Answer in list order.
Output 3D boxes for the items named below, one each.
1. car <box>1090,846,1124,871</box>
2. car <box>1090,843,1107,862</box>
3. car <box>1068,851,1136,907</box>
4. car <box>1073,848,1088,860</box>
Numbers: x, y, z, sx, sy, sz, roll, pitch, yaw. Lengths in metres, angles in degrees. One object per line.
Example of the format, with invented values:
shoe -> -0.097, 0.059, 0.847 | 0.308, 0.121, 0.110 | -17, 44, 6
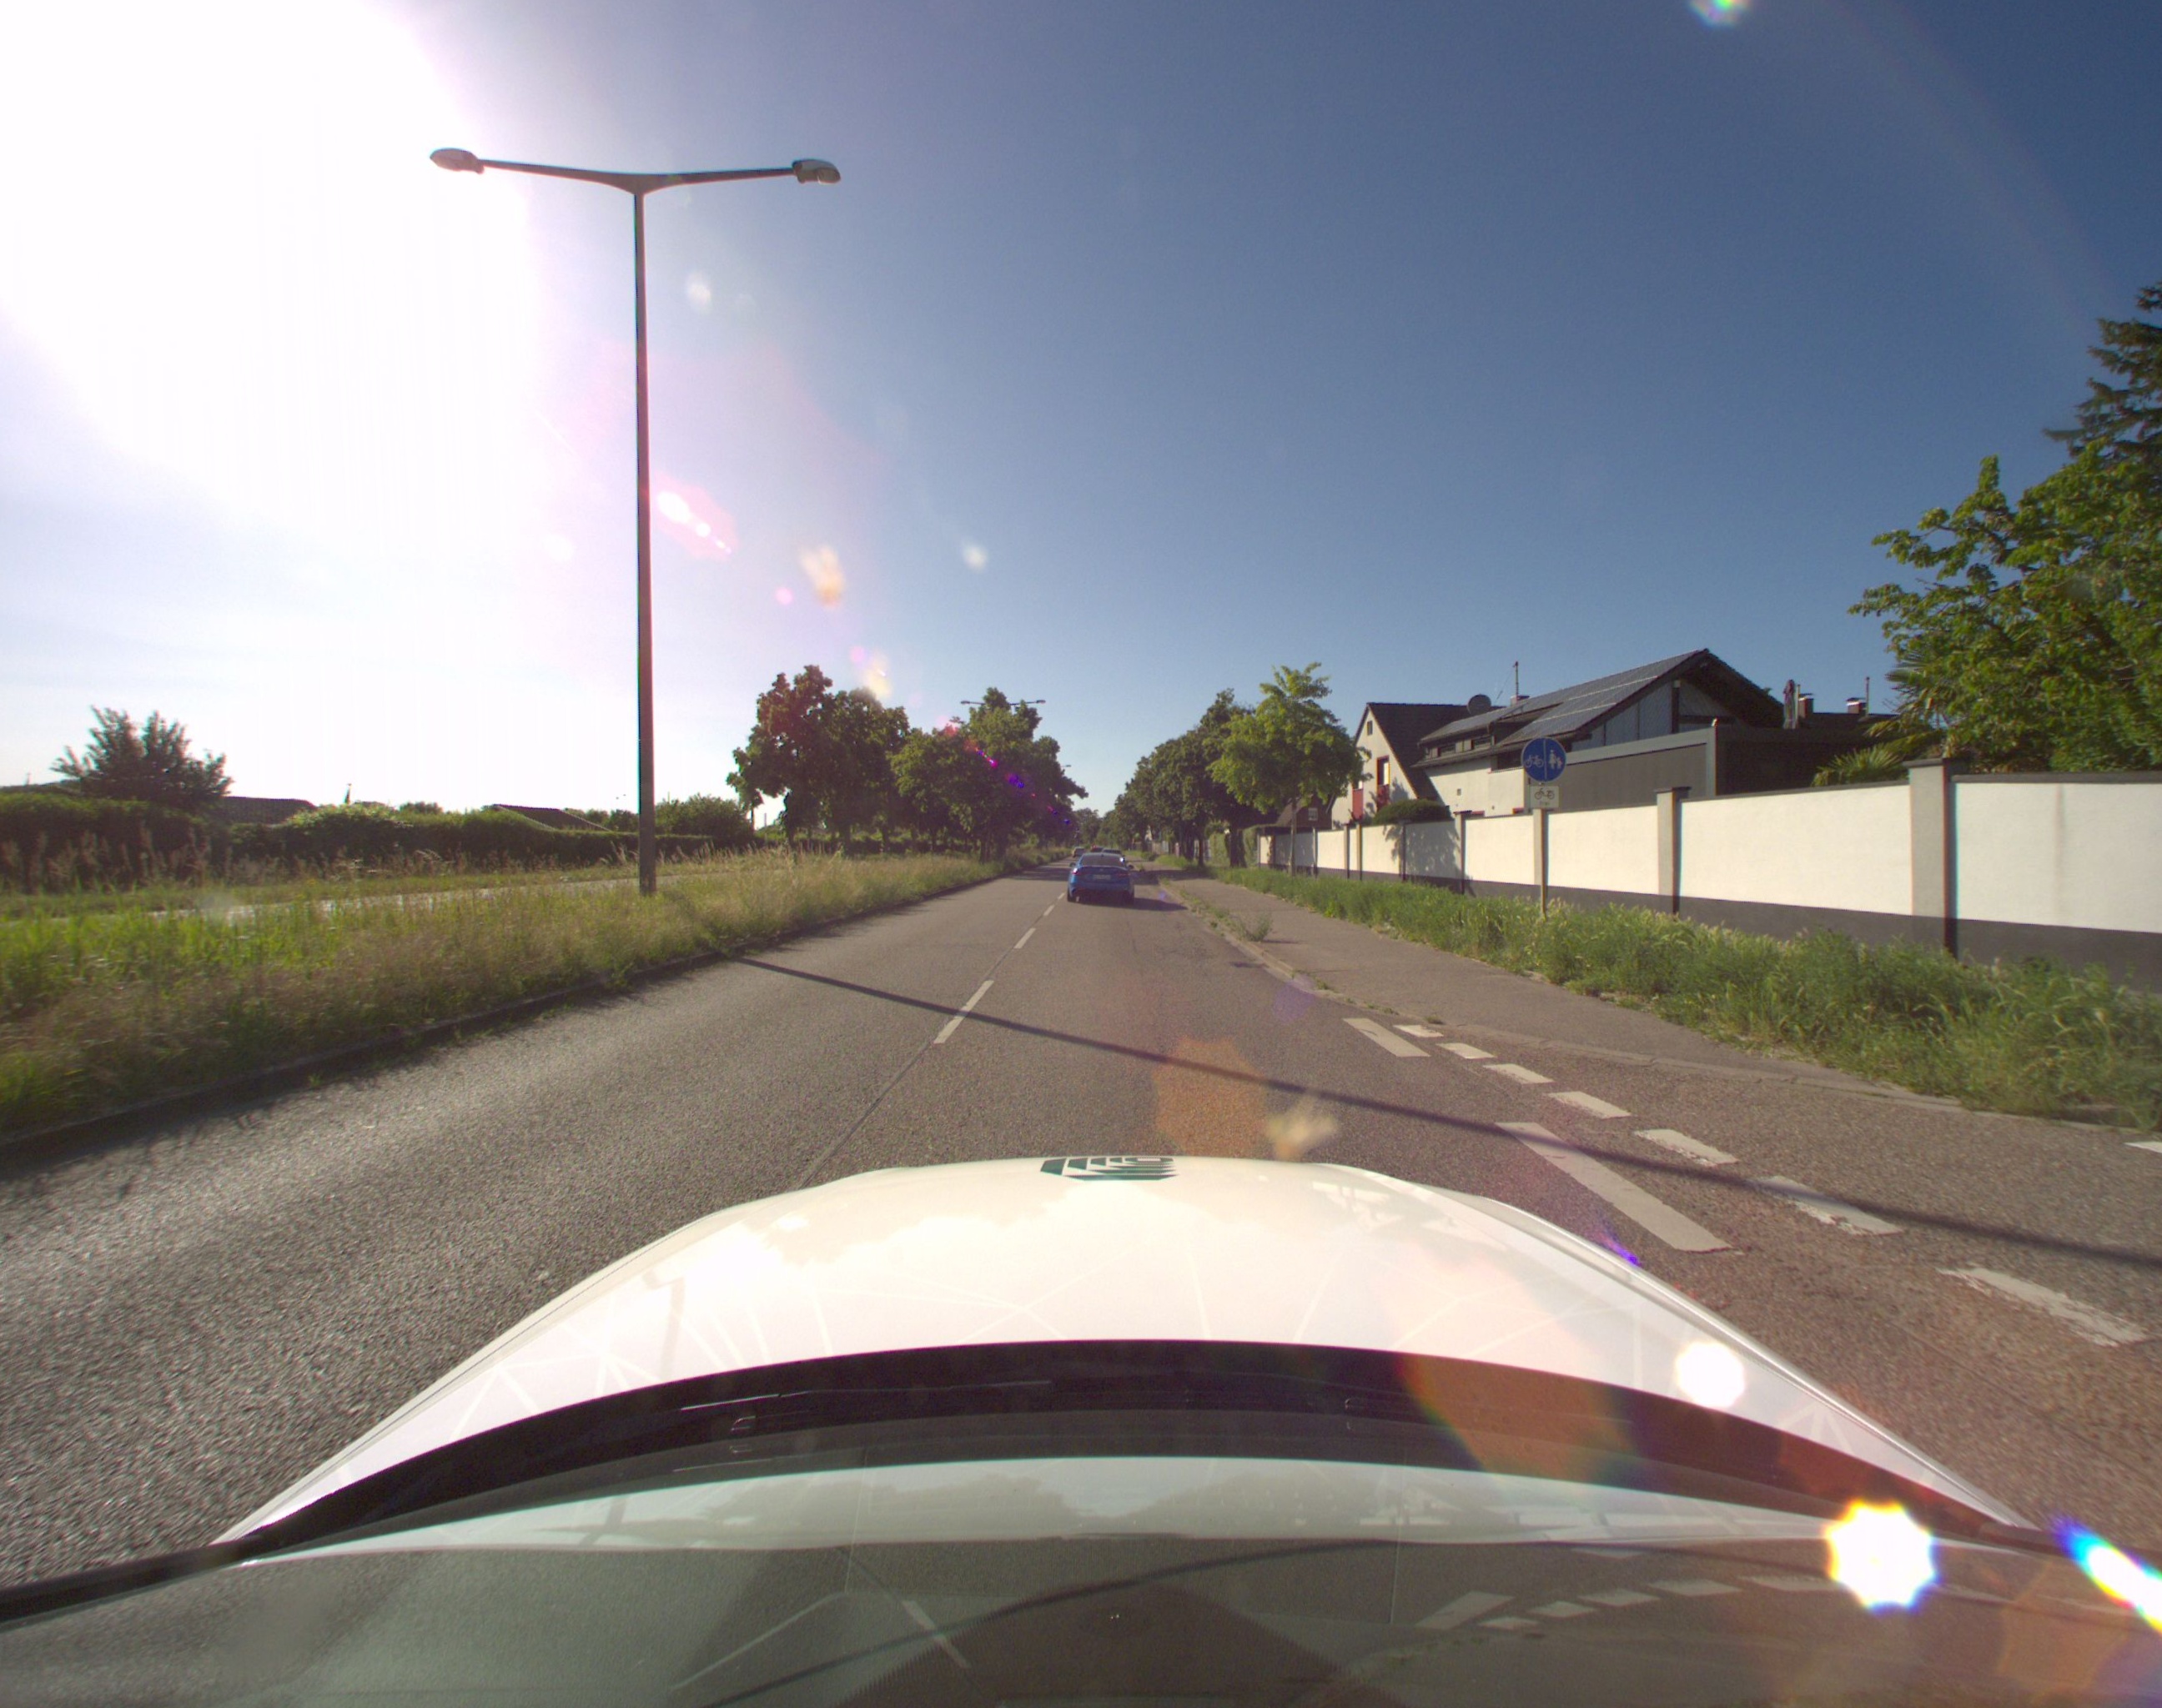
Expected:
car -> 1.695, 0.297, 54.515 | 1.911, 1.579, 4.178 | 0, 0, -3
car -> 1.917, -0.167, 90.532 | 1.786, 2.013, 4.001 | 1, 0, 1
car -> 0.690, 0.679, 24.340 | 1.831, 1.474, 4.187 | 1, 0, 3
car -> -0.040, 0.032, 108.454 | 1.909, 1.512, 4.066 | 0, 0, -1
